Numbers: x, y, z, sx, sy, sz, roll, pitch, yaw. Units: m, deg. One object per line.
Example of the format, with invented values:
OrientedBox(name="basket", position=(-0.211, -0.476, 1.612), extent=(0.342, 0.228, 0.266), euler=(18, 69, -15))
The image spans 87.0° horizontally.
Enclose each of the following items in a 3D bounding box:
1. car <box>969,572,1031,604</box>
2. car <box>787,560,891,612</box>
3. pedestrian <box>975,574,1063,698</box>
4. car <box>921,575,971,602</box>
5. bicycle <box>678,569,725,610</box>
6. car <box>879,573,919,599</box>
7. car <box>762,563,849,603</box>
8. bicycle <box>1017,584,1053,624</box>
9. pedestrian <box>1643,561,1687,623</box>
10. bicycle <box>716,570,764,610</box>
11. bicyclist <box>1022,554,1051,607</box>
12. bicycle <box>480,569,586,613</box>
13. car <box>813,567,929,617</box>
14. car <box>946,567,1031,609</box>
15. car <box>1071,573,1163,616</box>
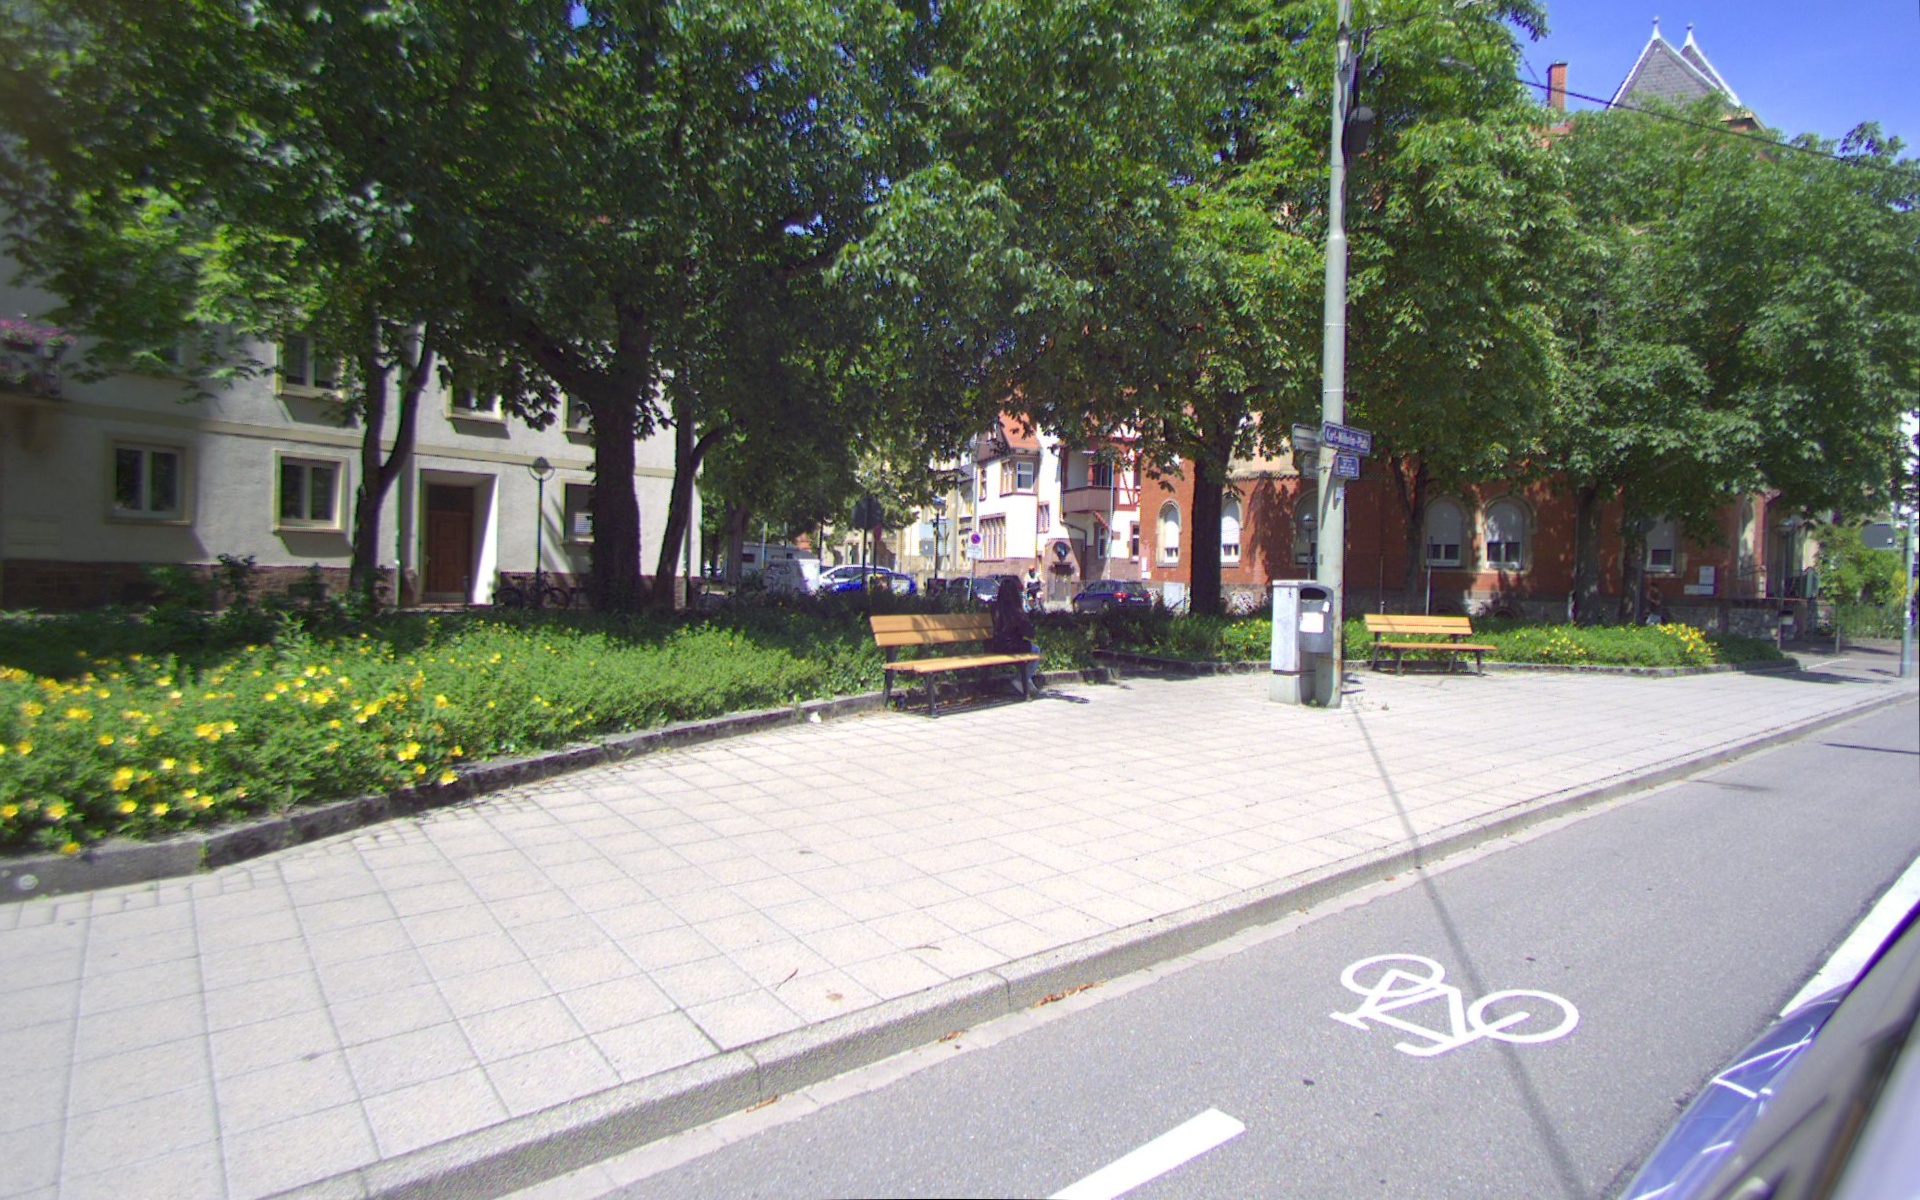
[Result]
OrientedBox(name="car", position=(2.065, -0.624, 54.074), extent=(1.897, 1.638, 4.318), euler=(0, 0, -19))
OrientedBox(name="car", position=(-5.374, -0.633, 44.828), extent=(4.219, 2.219, 1.942), euler=(0, 0, -18))
OrientedBox(name="pedestrian", position=(0.594, 0.332, 10.074), extent=(0.562, 1.156, 0.718), euler=(3, 2, 33))
OrientedBox(name="car", position=(-0.919, -0.696, 63.252), extent=(1.897, 1.638, 4.318), euler=(0, 0, -19))
OrientedBox(name="bicycle", position=(-6.778, -0.263, 26.475), extent=(0.736, 1.024, 2.273), euler=(0, 0, -26))
OrientedBox(name="car", position=(-4.502, -1.011, 74.461), extent=(1.897, 1.897, 4.318), euler=(0, 0, -19))
OrientedBox(name="car", position=(-8.086, -0.887, 52.938), extent=(4.219, 2.029, 1.942), euler=(0, 0, -18))
OrientedBox(name="bicycle", position=(2.502, 0.120, 34.198), extent=(0.937, 1.279, 3.745), euler=(0, 0, 0))
OrientedBox(name="pedestrian", position=(21.201, -0.247, 30.456), extent=(0.826, 1.846, 0.671), euler=(2, 1, 12))
OrientedBox(name="bicycle", position=(-5.871, -0.272, 26.903), extent=(0.736, 1.024, 2.273), euler=(0, 0, -26))
OrientedBox(name="bicyclist", position=(2.511, -0.645, 33.499), extent=(0.858, 1.717, 1.254), euler=(0, 0, 0))
OrientedBox(name="bicycle", position=(-10.256, -0.226, 24.375), extent=(2.230, 1.024, 0.751), euler=(-1, 0, -41))
OrientedBox(name="car", position=(-3.546, -0.326, 40.015), extent=(4.219, 1.903, 1.942), euler=(0, 0, -18))
OrientedBox(name="car", position=(1.123, -0.495, 42.291), extent=(1.898, 1.638, 4.533), euler=(0, 0, -22))
OrientedBox(name="car", position=(6.273, -0.238, 41.024), extent=(1.897, 1.638, 4.318), euler=(0, 0, -19))
